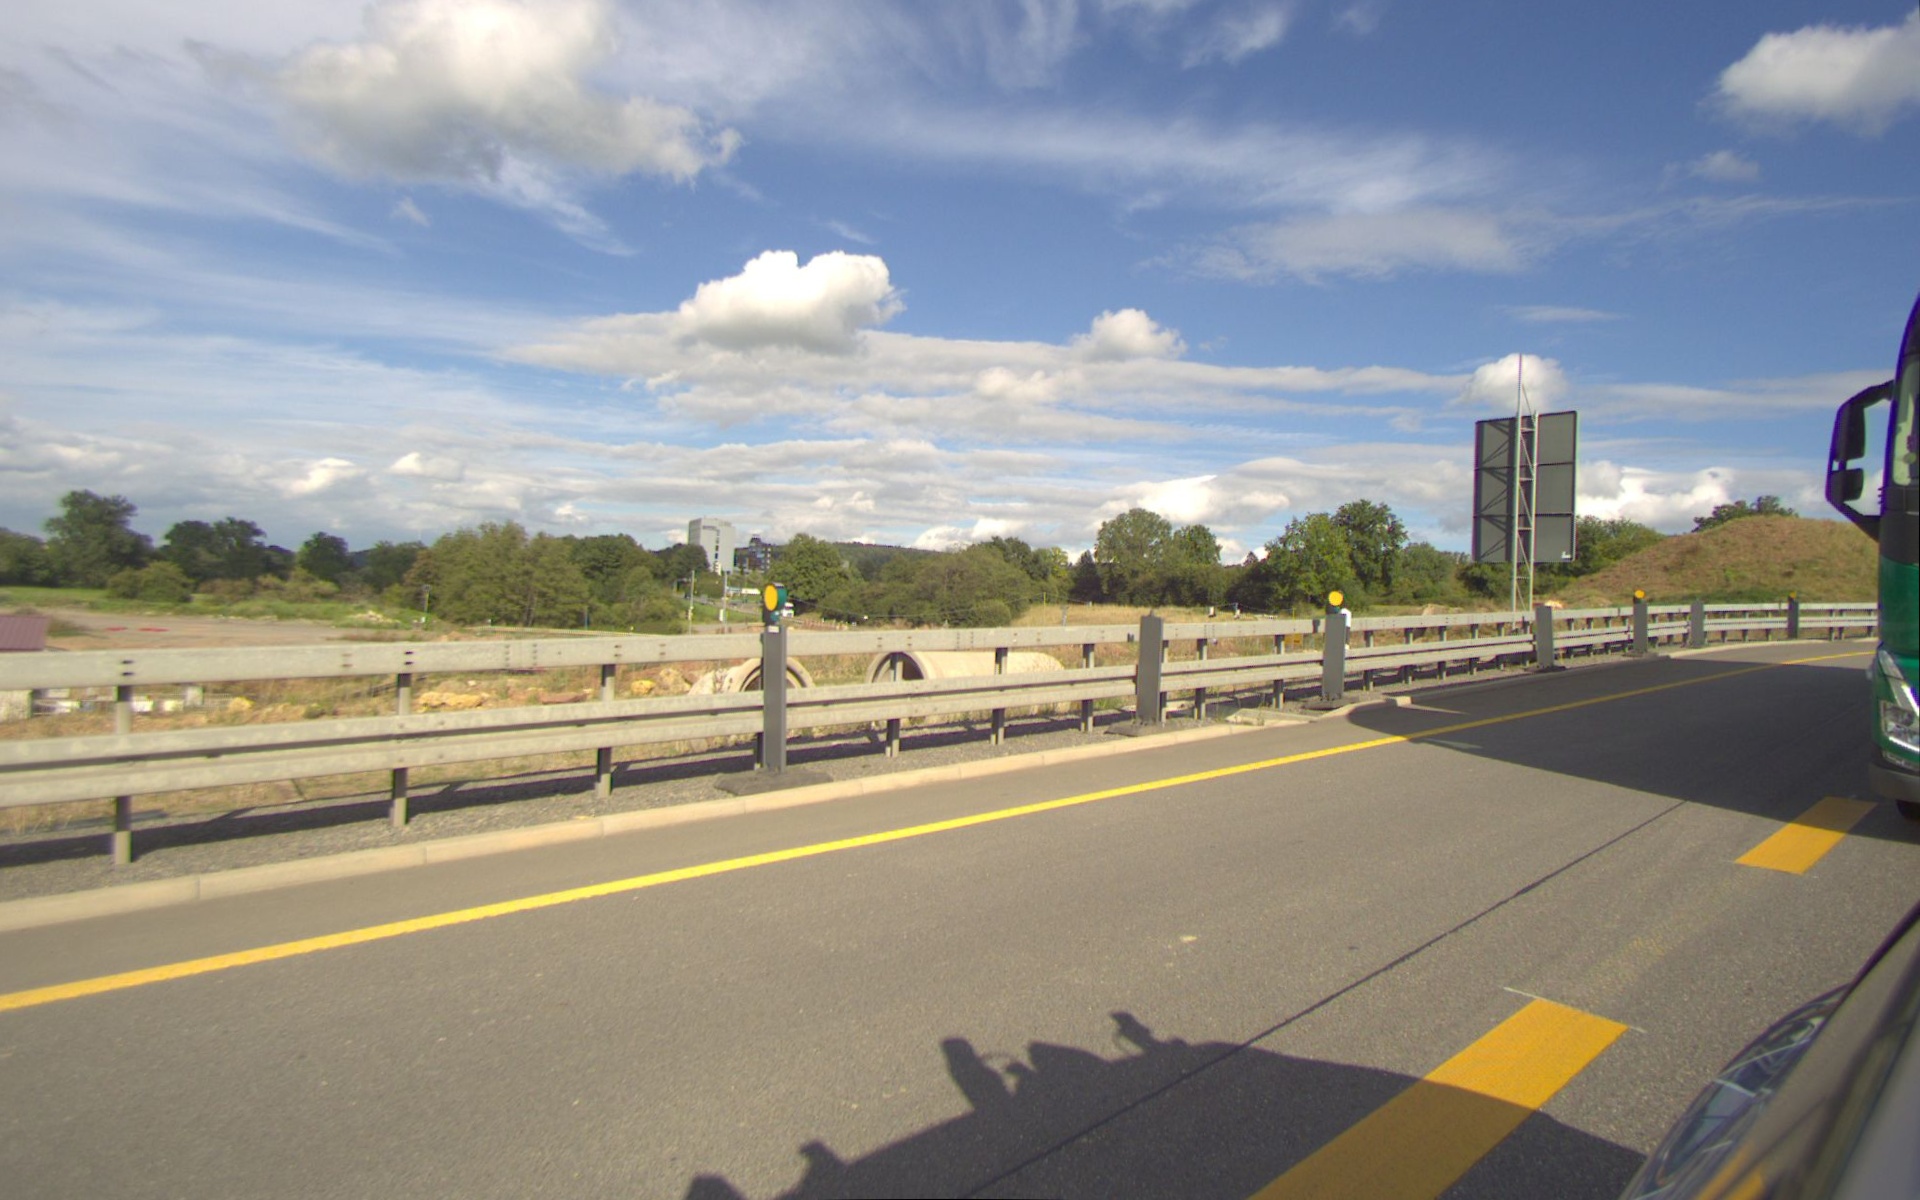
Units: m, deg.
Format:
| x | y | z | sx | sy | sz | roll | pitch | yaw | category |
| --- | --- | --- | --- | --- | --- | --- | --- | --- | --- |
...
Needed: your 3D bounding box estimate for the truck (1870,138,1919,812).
| x | y | z | sx | sy | sz | roll | pitch | yaw | category |
| --- | --- | --- | --- | --- | --- | --- | --- | --- | --- |
| 10.068 | -0.692 | 8.356 | 10.138 | 3.896 | 2.661 | 1 | -1 | -42 | truck |
